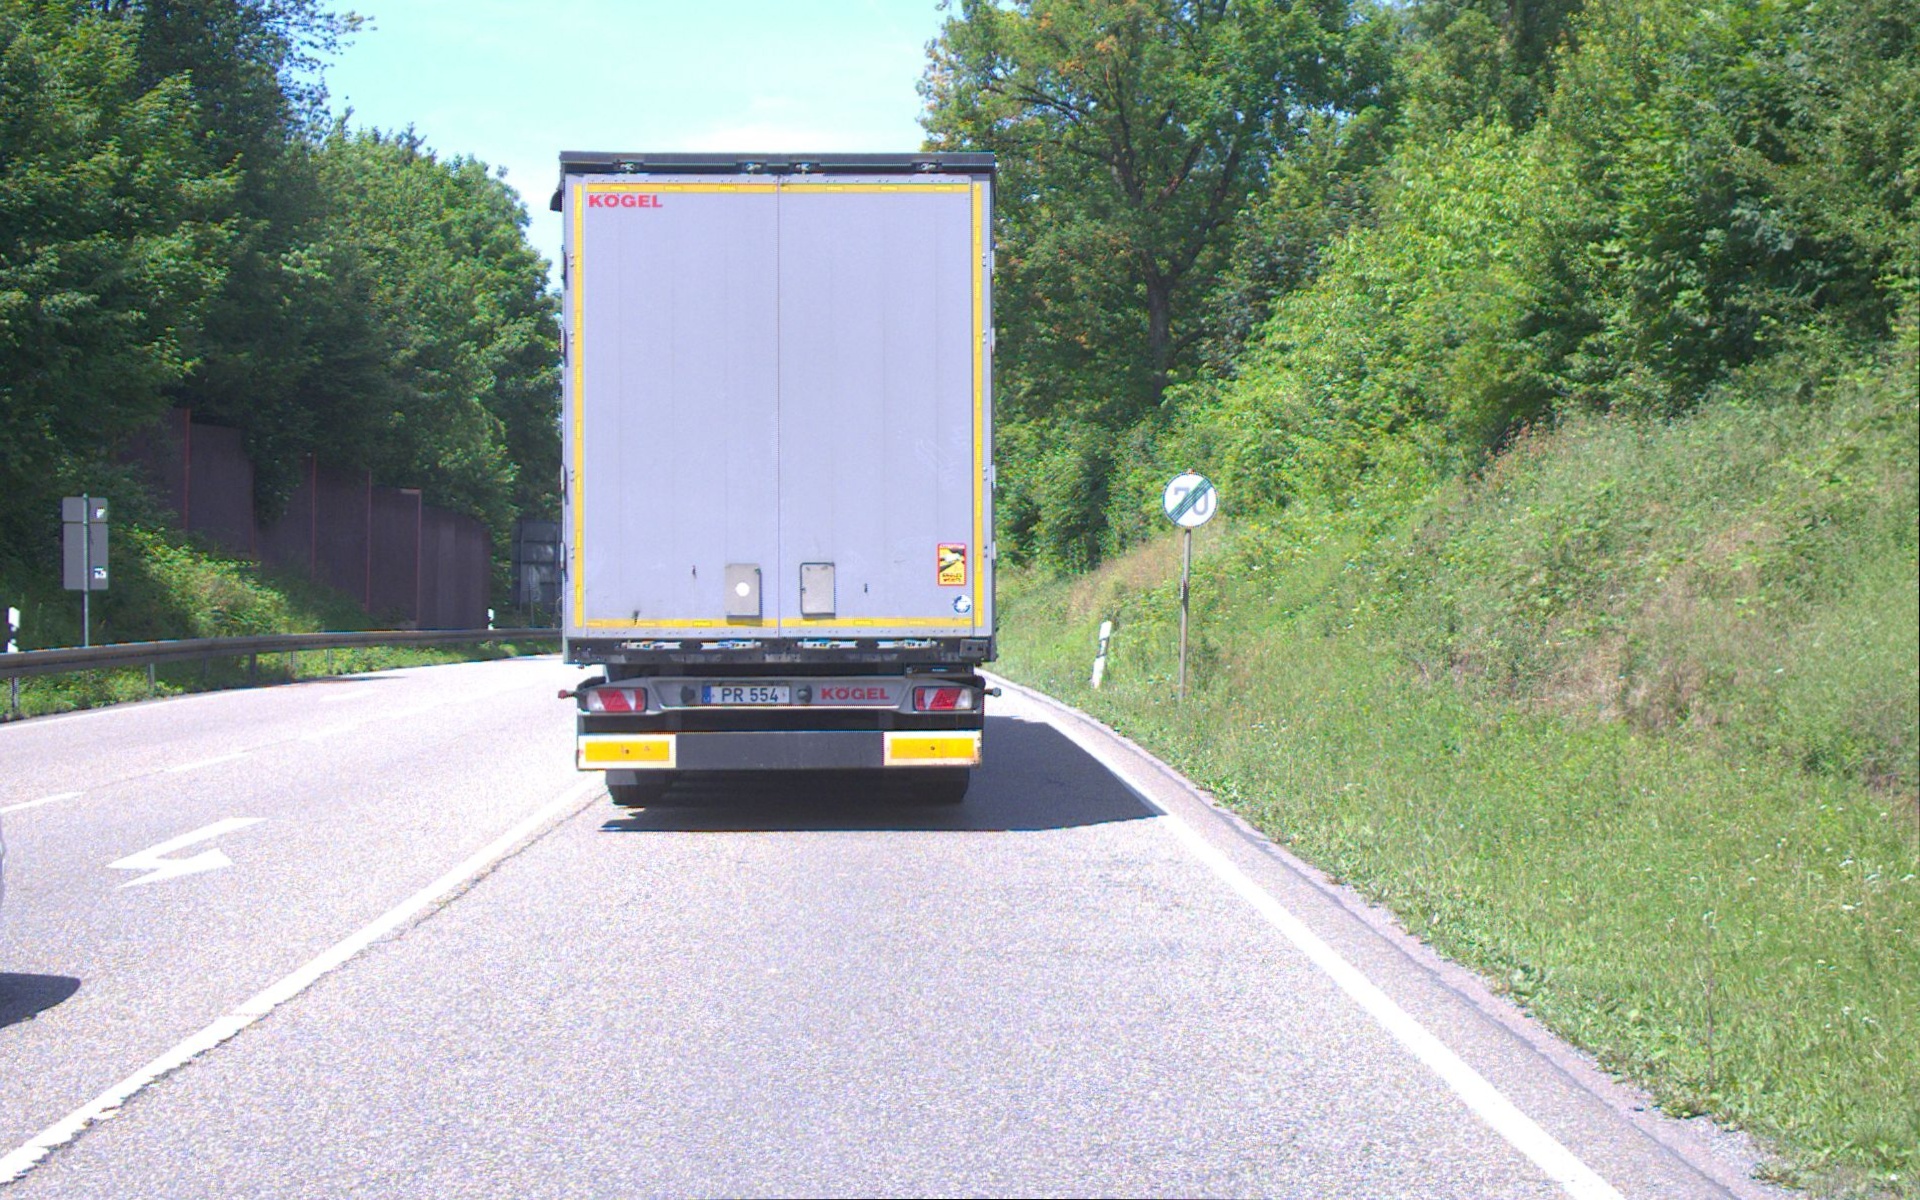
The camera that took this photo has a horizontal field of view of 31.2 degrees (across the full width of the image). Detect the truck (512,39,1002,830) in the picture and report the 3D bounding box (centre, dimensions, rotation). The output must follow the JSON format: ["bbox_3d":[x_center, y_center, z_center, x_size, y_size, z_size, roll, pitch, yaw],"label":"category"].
[{"bbox_3d":[-1.278,-1.006,23.315,2.822,4.588,6.666,0,1,-2],"label":"truck"}]

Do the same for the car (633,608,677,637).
[{"bbox_3d":[-15.751,1.153,177.377,1.805,1.430,3.872,-1,0,-12],"label":"car"}]
